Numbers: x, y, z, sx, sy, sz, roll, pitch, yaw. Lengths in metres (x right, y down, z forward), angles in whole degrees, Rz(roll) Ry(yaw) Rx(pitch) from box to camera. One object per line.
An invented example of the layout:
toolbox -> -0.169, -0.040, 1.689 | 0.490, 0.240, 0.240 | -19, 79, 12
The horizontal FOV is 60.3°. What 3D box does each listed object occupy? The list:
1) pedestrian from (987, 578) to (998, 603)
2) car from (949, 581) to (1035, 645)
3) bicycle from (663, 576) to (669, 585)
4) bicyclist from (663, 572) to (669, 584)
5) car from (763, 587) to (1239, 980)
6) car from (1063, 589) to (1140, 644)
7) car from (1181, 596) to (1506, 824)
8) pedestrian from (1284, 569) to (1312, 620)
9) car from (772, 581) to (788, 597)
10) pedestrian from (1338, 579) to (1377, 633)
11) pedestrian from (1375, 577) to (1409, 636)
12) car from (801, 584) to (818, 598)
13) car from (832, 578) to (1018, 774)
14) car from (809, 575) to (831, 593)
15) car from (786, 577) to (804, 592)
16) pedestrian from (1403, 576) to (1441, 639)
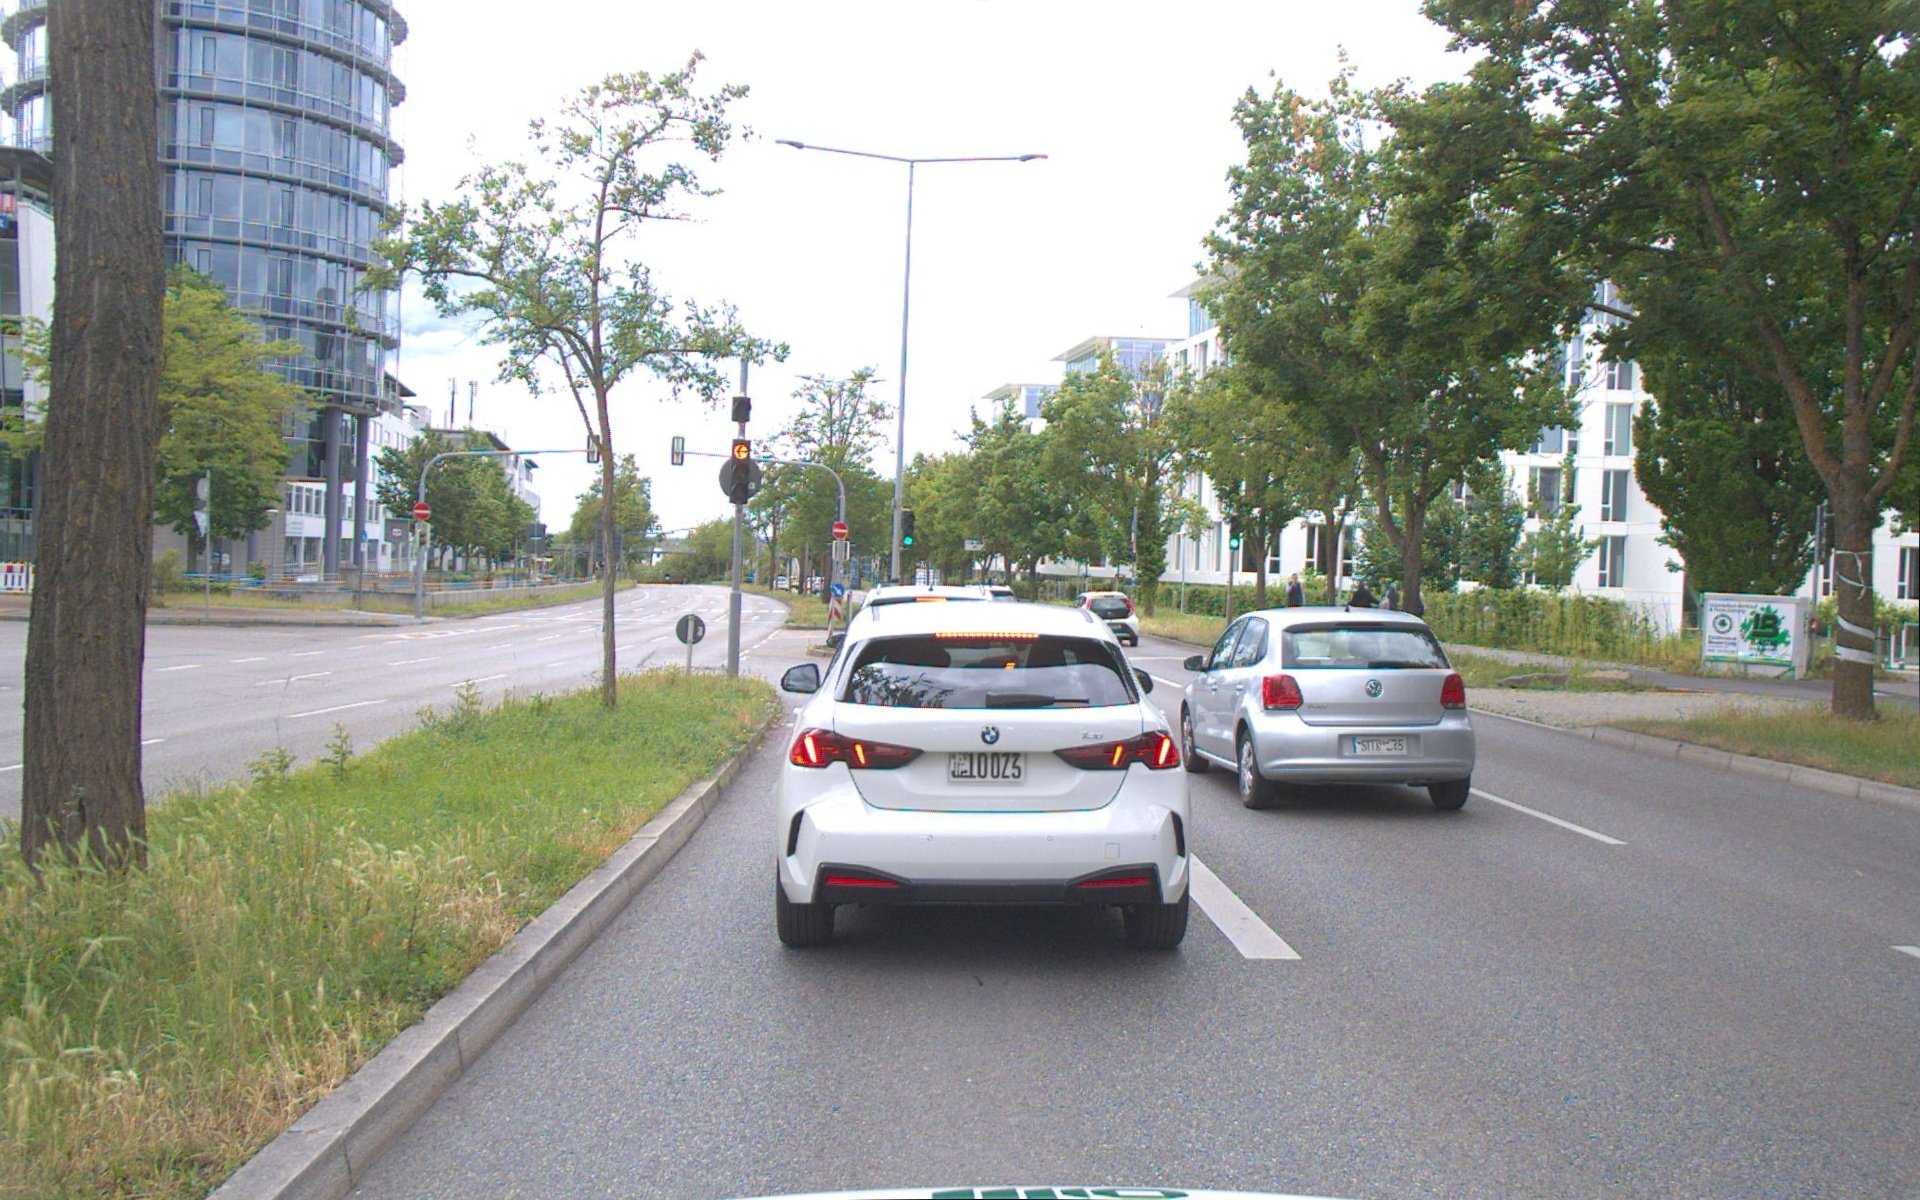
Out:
pedestrian -> 2.673, -0.766, 136.854 | 0.749, 2.049, 0.751 | 1, -1, -16
car -> 0.836, 0.322, 45.505 | 1.855, 1.623, 4.308 | 1, 0, -6
bicycle -> -41.526, -2.756, 233.725 | 0.795, 1.123, 2.550 | 1, 0, -10
bicyclist -> -41.531, -3.159, 233.797 | 0.796, 1.681, 1.185 | 1, 0, -11
car -> 0.132, 0.694, 8.326 | 1.785, 1.463, 3.999 | 1, 0, -1
car -> 3.898, 0.433, 45.921 | 1.621, 1.450, 3.532 | 0, 0, -4
car -> 2.840, 0.739, 13.017 | 1.573, 1.494, 3.674 | 1, 0, -2
pedestrian -> 10.791, -0.161, 52.761 | 0.726, 1.601, 0.674 | 1, -1, -2
car -> -20.206, -1.231, 185.502 | 1.663, 1.747, 3.994 | 1, 0, -7
pedestrian -> 11.114, 0.172, 46.235 | 0.773, 1.473, 1.111 | 1, 0, -2
pedestrian -> 11.994, 0.186, 45.913 | 0.685, 1.623, 0.883 | 1, 0, -2
car -> -16.985, -1.046, 187.001 | 1.661, 1.512, 3.686 | 1, 0, -9
car -> -0.321, 0.627, 15.838 | 1.518, 1.596, 3.999 | 1, 0, -1
car -> -13.735, -1.561, 162.601 | 1.956, 1.699, 3.993 | 0, 0, -8
car -> -21.000, -1.953, 210.787 | 1.957, 1.763, 3.991 | 1, 0, -10
pedestrian -> 12.850, 0.201, 46.030 | 0.751, 1.715, 0.883 | 1, -1, -2
